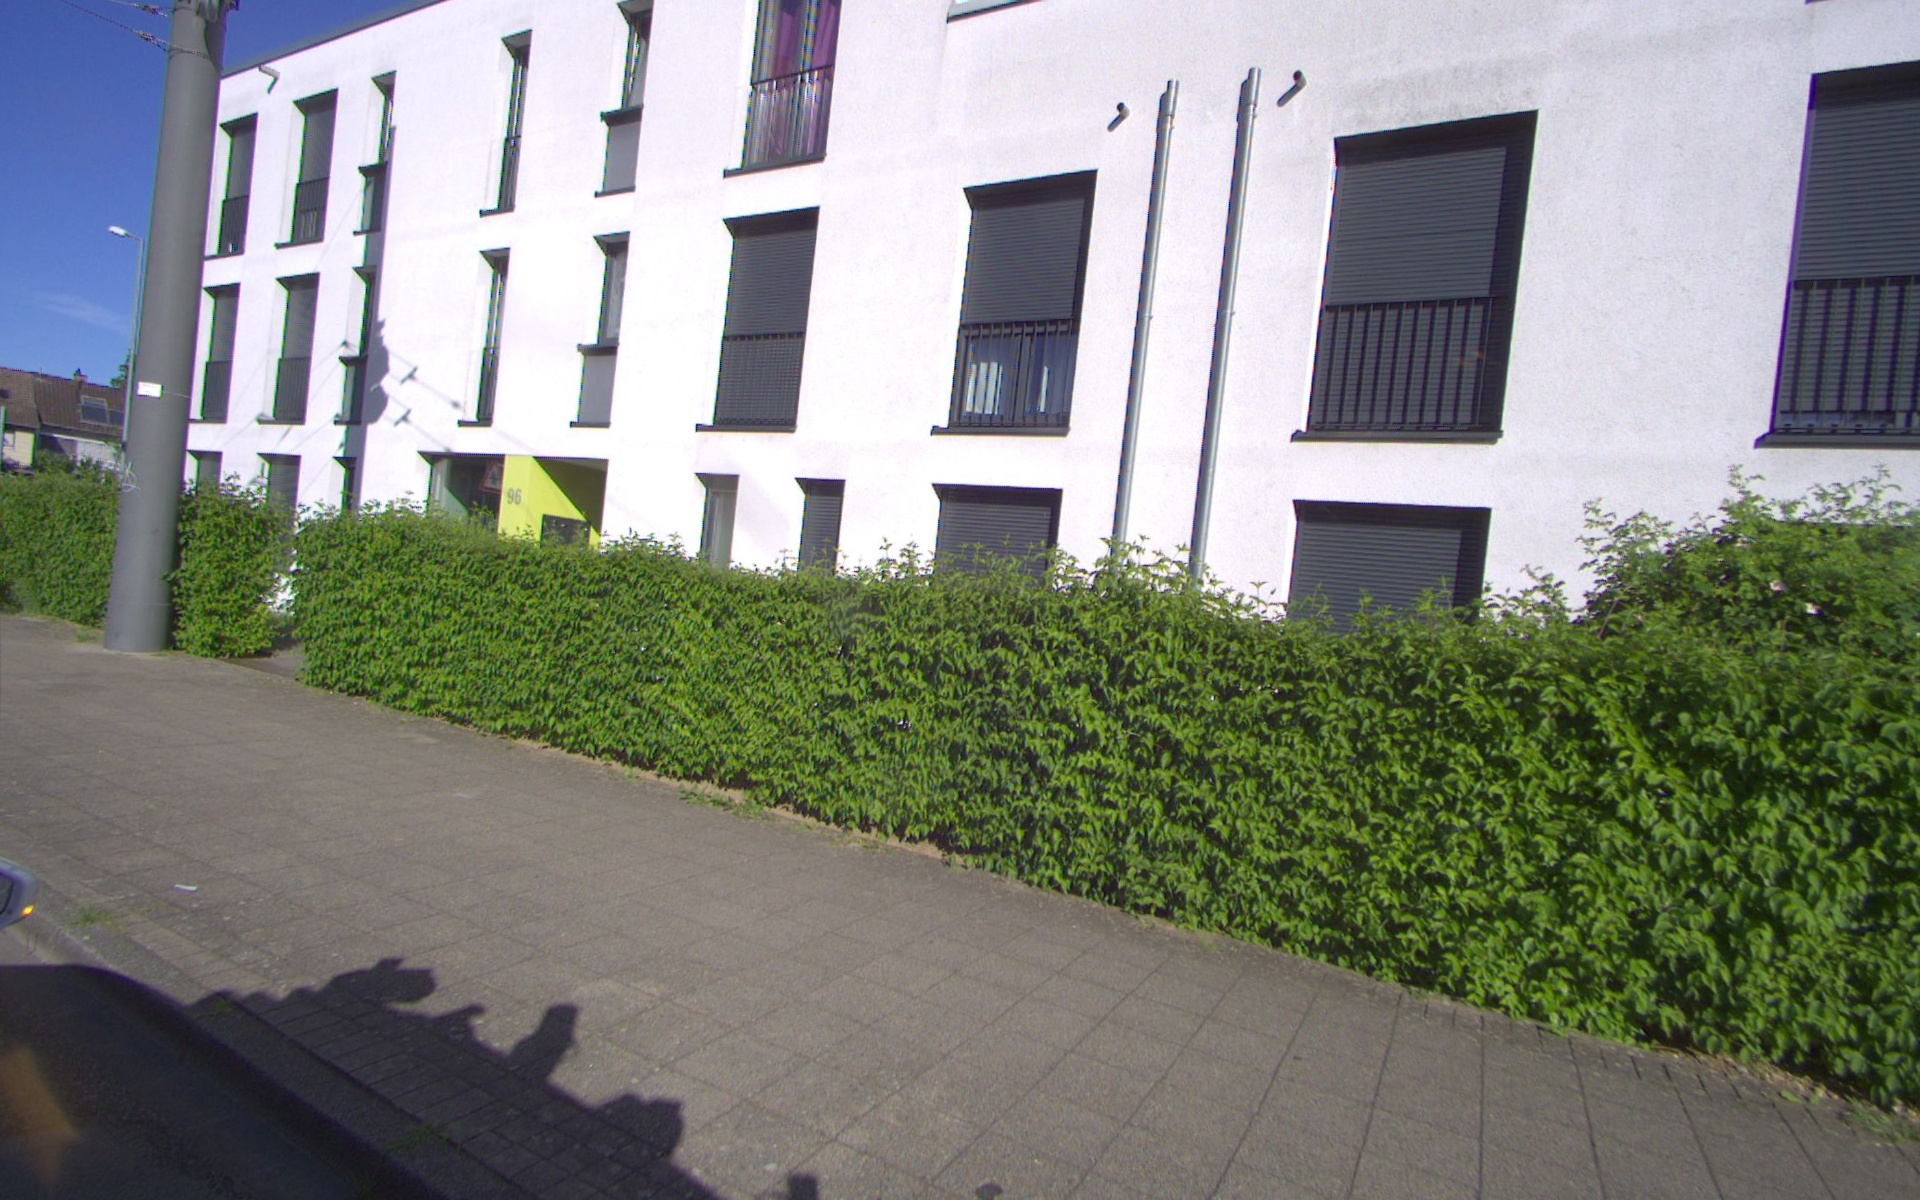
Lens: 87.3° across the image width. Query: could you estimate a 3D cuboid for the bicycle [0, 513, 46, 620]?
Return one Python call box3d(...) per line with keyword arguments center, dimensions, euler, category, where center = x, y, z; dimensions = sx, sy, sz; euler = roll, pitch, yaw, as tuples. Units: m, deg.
box3d(center=(-12.242, -0.533, 11.349), dimensions=(3.066, 1.188, 0.931), euler=(6, 1, 4), category="bicycle")
